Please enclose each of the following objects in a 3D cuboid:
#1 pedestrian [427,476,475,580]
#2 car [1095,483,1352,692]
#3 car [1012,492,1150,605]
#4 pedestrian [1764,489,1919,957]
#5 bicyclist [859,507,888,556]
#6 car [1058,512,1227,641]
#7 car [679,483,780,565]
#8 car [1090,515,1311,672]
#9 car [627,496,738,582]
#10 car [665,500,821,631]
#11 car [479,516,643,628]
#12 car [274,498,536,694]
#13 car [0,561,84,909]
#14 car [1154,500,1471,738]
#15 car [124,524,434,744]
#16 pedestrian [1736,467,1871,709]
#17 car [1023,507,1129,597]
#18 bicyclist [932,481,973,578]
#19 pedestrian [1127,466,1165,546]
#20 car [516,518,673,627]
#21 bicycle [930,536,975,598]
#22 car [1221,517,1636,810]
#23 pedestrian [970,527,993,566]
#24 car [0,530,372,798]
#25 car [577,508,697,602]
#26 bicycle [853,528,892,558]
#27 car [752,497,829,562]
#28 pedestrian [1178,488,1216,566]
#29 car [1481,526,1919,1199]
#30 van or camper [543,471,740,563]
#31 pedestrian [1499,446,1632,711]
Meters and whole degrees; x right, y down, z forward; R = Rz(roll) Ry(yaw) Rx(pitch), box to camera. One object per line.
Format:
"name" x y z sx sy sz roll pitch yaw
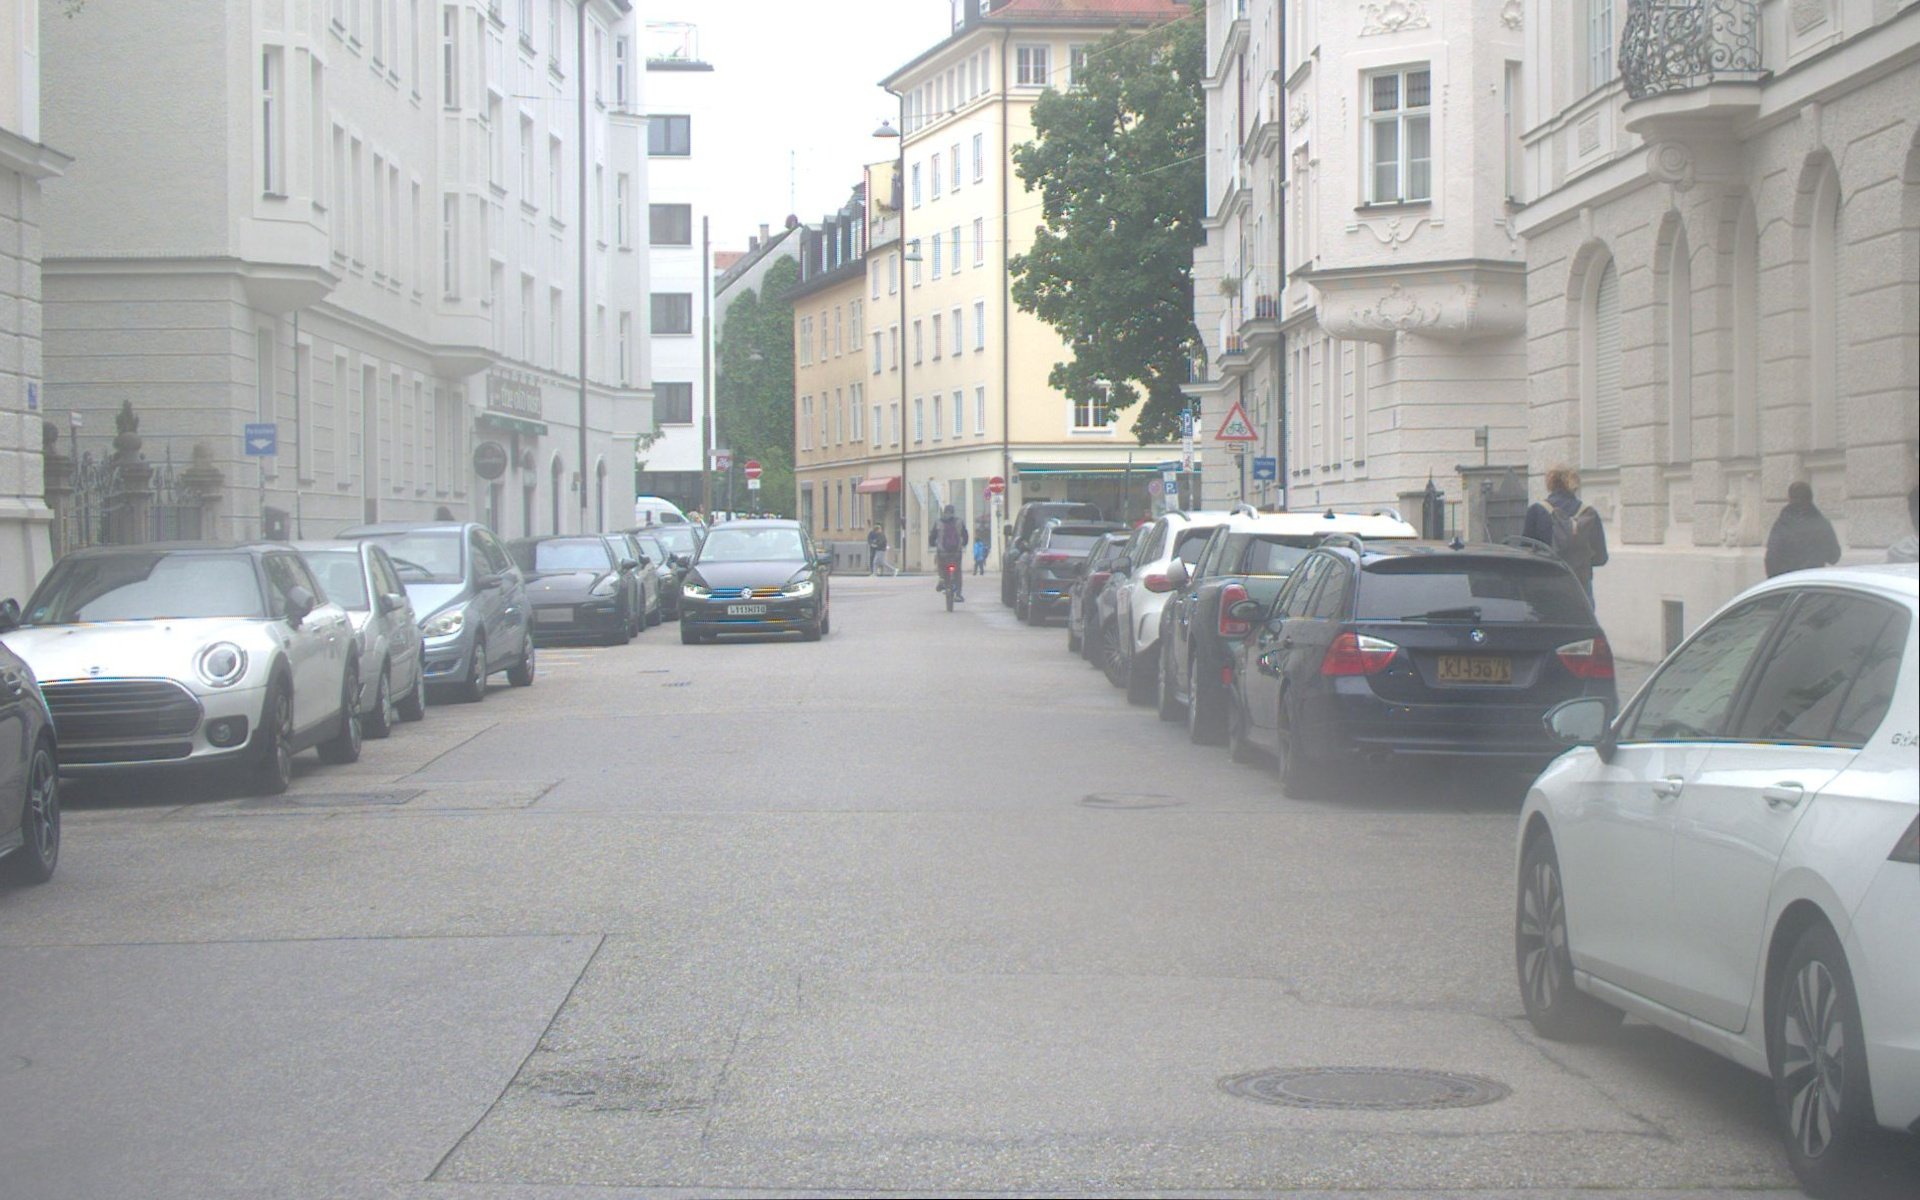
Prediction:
"pedestrian" -8.371 -1.185 56.538 0.697 1.701 0.665 -1 1 -3
"car" 2.208 -0.177 29.869 1.895 1.630 4.392 -1 2 0
"car" 1.751 -0.790 50.959 1.707 1.582 4.001 1 2 -3
"pedestrian" 3.581 0.423 12.658 0.850 1.652 0.867 -1 1 -28
"bicyclist" -2.914 -2.306 116.055 0.781 1.632 0.976 -1 1 -15
"car" 2.065 -0.309 39.829 1.612 1.390 4.001 1 2 -2
"car" -5.115 -1.701 76.728 1.843 1.751 4.000 -1 2 2
"car" 2.368 -0.108 34.739 1.708 1.496 4.001 0 1 -4
"car" -4.984 -1.119 62.230 1.741 1.481 4.181 -1 1 -1
"car" -2.765 -0.477 44.546 1.724 1.528 4.086 -3 1 -1
"car" -5.184 -0.403 45.158 1.849 1.362 4.703 -1 2 -3
"car" -4.993 -0.094 31.435 1.696 1.575 4.062 -3 2 -1
"car" -4.708 0.603 13.348 1.734 1.360 4.194 -3 2 -4
"car" 2.384 0.063 24.161 1.748 1.519 4.171 0 2 -1
"car" -4.928 0.186 25.358 1.644 1.398 4.001 -3 2 -3
"pedestrian" 6.039 -0.098 24.653 0.682 1.673 0.812 -3 2 -2
"car" 1.889 -0.808 56.734 1.664 1.390 3.582 1 1 1
"bicyclist" -0.119 -1.174 57.313 0.606 1.601 0.757 -1 2 4
"pedestrian" 4.046 -2.041 74.696 0.703 1.722 0.703 -2 1 -3
"car" -5.308 -0.434 50.433 1.794 1.415 4.511 -3 1 -1
"bicycle" -0.116 -0.554 57.270 0.639 1.001 1.574 -1 1 3
"car" 2.553 0.273 19.680 1.711 1.447 4.225 0 2 -1
"pedestrian" 0.715 -1.748 112.807 0.699 1.266 0.651 -1 1 4
"car" -4.733 0.305 20.572 1.797 1.430 4.080 -1 1 -1
"car" -5.192 -0.756 55.700 1.810 1.380 4.444 -2 2 -4
"bicycle" -2.949 -1.938 116.216 0.846 0.998 2.170 -1 2 -15
"car" -4.415 -1.837 89.835 1.676 1.591 3.945 -3 1 1
"pedestrian" 5.174 -1.600 75.107 0.679 1.668 0.654 -3 2 -3
"car" 2.600 0.576 8.929 1.662 1.502 4.065 0 2 -3
"van or camper" -9.814 -2.558 105.897 5.903 2.668 1.873 -1 -1 -8
"pedestrian" 4.196 -0.163 23.864 0.682 1.769 0.855 -3 2 0
